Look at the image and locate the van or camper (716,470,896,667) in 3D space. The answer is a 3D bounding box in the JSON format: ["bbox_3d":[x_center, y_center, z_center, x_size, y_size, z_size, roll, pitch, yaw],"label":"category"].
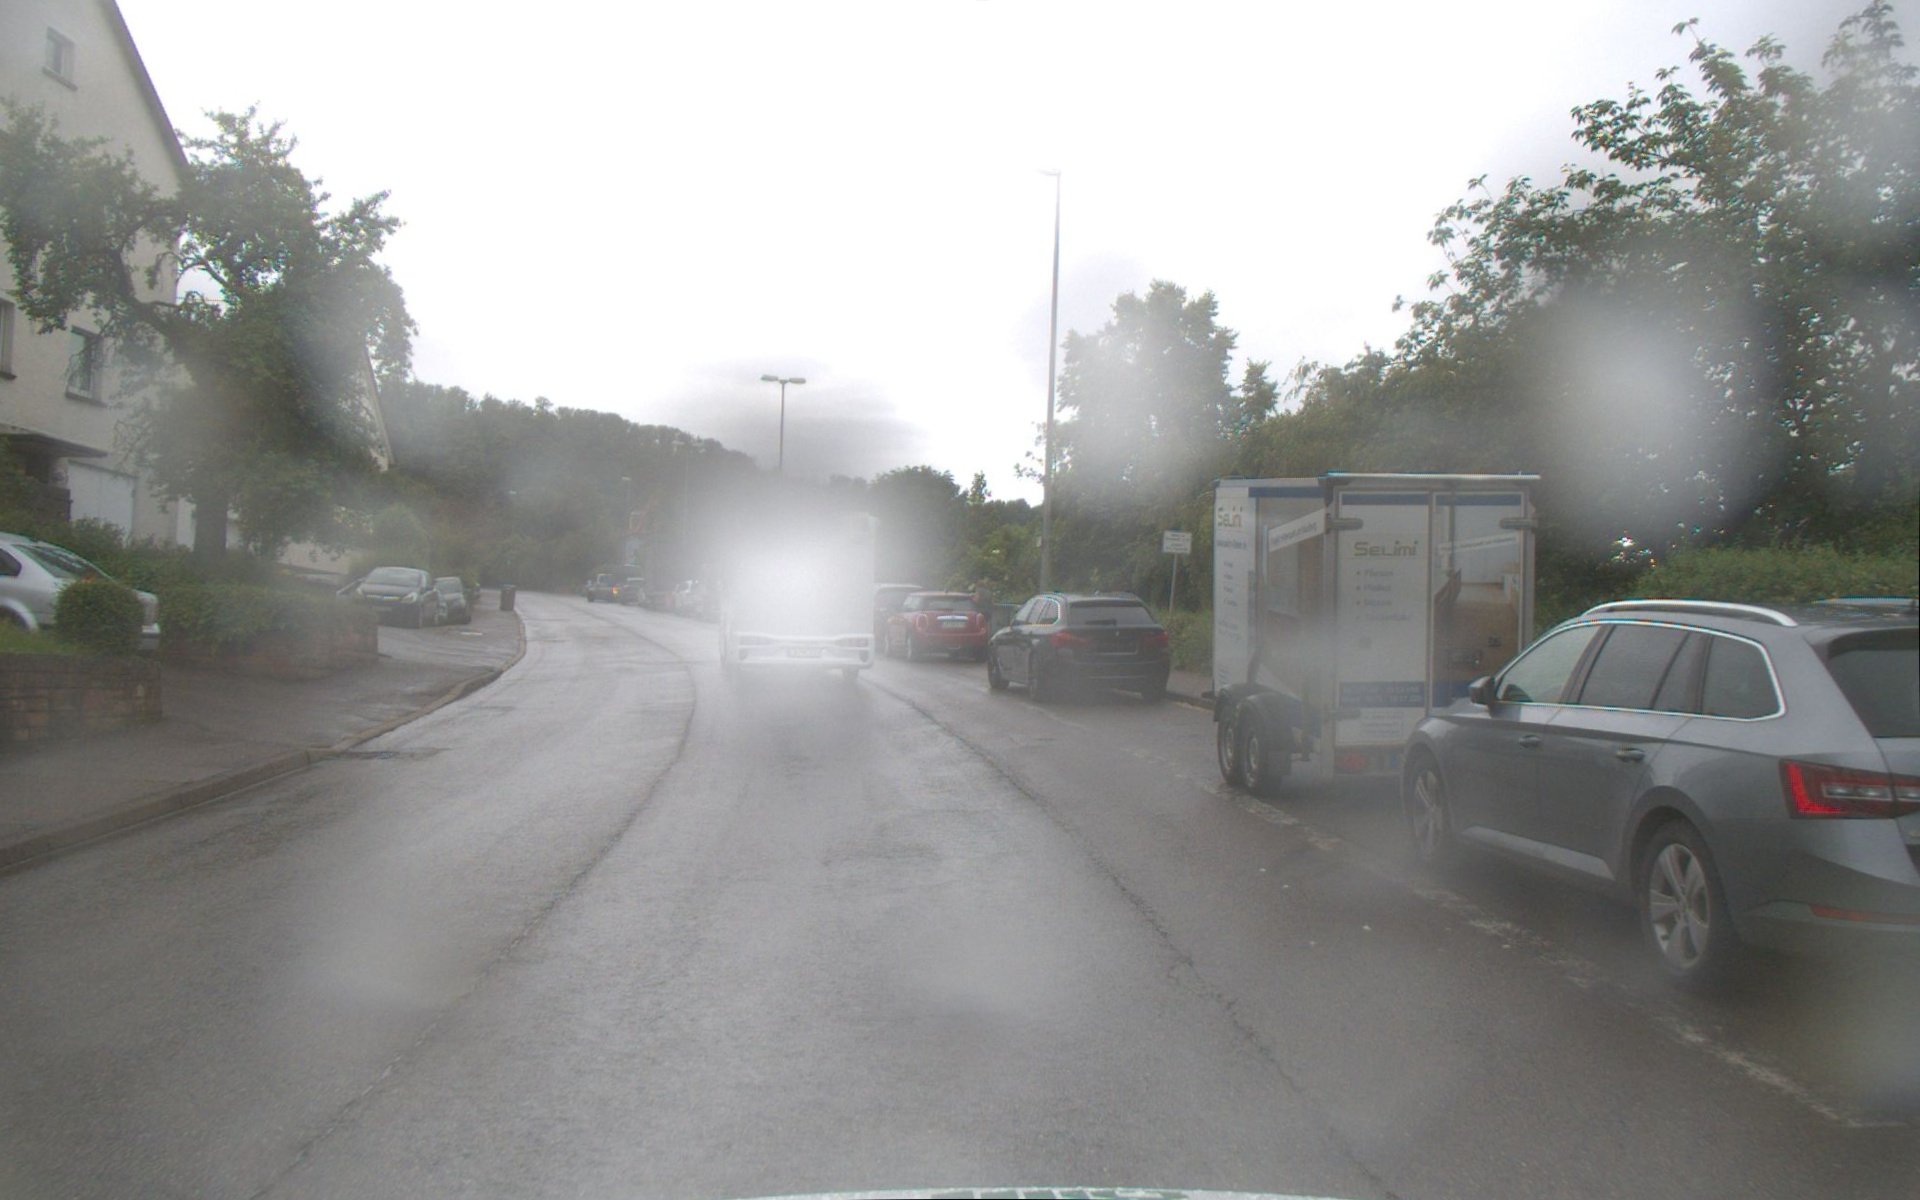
[{"bbox_3d":[-2.781,-0.400,28.268,2.568,2.903,6.017,3,-2,-9],"label":"van or camper"}]

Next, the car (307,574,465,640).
[{"bbox_3d":[-16.190,0.190,46.777,3.750,1.503,1.803,-5,0,-1],"label":"car"}]

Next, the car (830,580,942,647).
[{"bbox_3d":[-1.886,0.320,40.510,1.785,1.533,4.705,1,0,-15],"label":"car"}]

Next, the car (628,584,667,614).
[{"bbox_3d":[-18.769,-0.042,99.119,1.816,1.713,5.614,1,0,-16],"label":"car"}]

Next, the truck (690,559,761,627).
[{"bbox_3d":[-9.915,-0.276,69.409,2.202,2.677,6.513,1,0,-15],"label":"truck"}]

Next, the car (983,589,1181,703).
[{"bbox_3d":[1.657,0.598,24.213,1.760,1.485,4.777,1,0,-10],"label":"car"}]

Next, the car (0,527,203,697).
[{"bbox_3d":[-10.844,-0.075,18.082,4.168,1.455,1.767,10,0,4],"label":"car"}]

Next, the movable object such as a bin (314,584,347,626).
[{"bbox_3d":[-16.619,0.135,43.662,0.639,1.097,0.558,0,0,5],"label":"movable object such as a bin"}]

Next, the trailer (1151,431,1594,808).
[{"bbox_3d":[3.087,0.139,13.769,1.911,2.499,5.428,1,0,-5],"label":"trailer"}]

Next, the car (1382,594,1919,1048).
[{"bbox_3d":[3.532,0.714,7.688,1.712,1.449,4.701,1,0,-3],"label":"car"}]

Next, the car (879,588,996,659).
[{"bbox_3d":[-0.542,0.487,35.598,1.706,1.439,3.838,1,0,-14],"label":"car"}]

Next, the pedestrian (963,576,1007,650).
[{"bbox_3d":[0.566,0.291,37.515,0.699,1.663,0.710,1,0,-36],"label":"pedestrian"}]

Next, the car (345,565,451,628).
[{"bbox_3d":[-14.213,-0.077,42.047,1.733,1.400,4.239,5,-1,-9],"label":"car"}]

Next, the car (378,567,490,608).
[{"bbox_3d":[-26.776,-0.643,84.331,4.980,1.978,2.141,1,0,0],"label":"car"}]

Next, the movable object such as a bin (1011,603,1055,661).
[{"bbox_3d":[1.464,0.636,33.203,0.700,1.113,0.846,1,0,-11],"label":"movable object such as a bin"}]

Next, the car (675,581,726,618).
[{"bbox_3d":[-11.913,-0.014,75.628,1.731,1.632,4.645,1,0,-16],"label":"car"}]

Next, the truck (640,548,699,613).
[{"bbox_3d":[-16.034,-1.028,90.801,2.396,3.393,7.930,1,0,-16],"label":"truck"}]

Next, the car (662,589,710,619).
[{"bbox_3d":[-13.921,0.214,83.749,1.803,1.463,4.964,1,0,-17],"label":"car"}]

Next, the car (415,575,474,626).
[{"bbox_3d":[-17.333,0.008,55.764,1.774,1.625,4.398,1,0,-16],"label":"car"}]

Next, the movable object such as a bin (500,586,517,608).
[{"bbox_3d":[-19.397,-0.132,71.069,0.593,0.944,0.561,3,0,-20],"label":"movable object such as a bin"}]

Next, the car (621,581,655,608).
[{"bbox_3d":[-20.735,-0.359,106.321,1.904,1.701,4.677,1,0,-14],"label":"car"}]
